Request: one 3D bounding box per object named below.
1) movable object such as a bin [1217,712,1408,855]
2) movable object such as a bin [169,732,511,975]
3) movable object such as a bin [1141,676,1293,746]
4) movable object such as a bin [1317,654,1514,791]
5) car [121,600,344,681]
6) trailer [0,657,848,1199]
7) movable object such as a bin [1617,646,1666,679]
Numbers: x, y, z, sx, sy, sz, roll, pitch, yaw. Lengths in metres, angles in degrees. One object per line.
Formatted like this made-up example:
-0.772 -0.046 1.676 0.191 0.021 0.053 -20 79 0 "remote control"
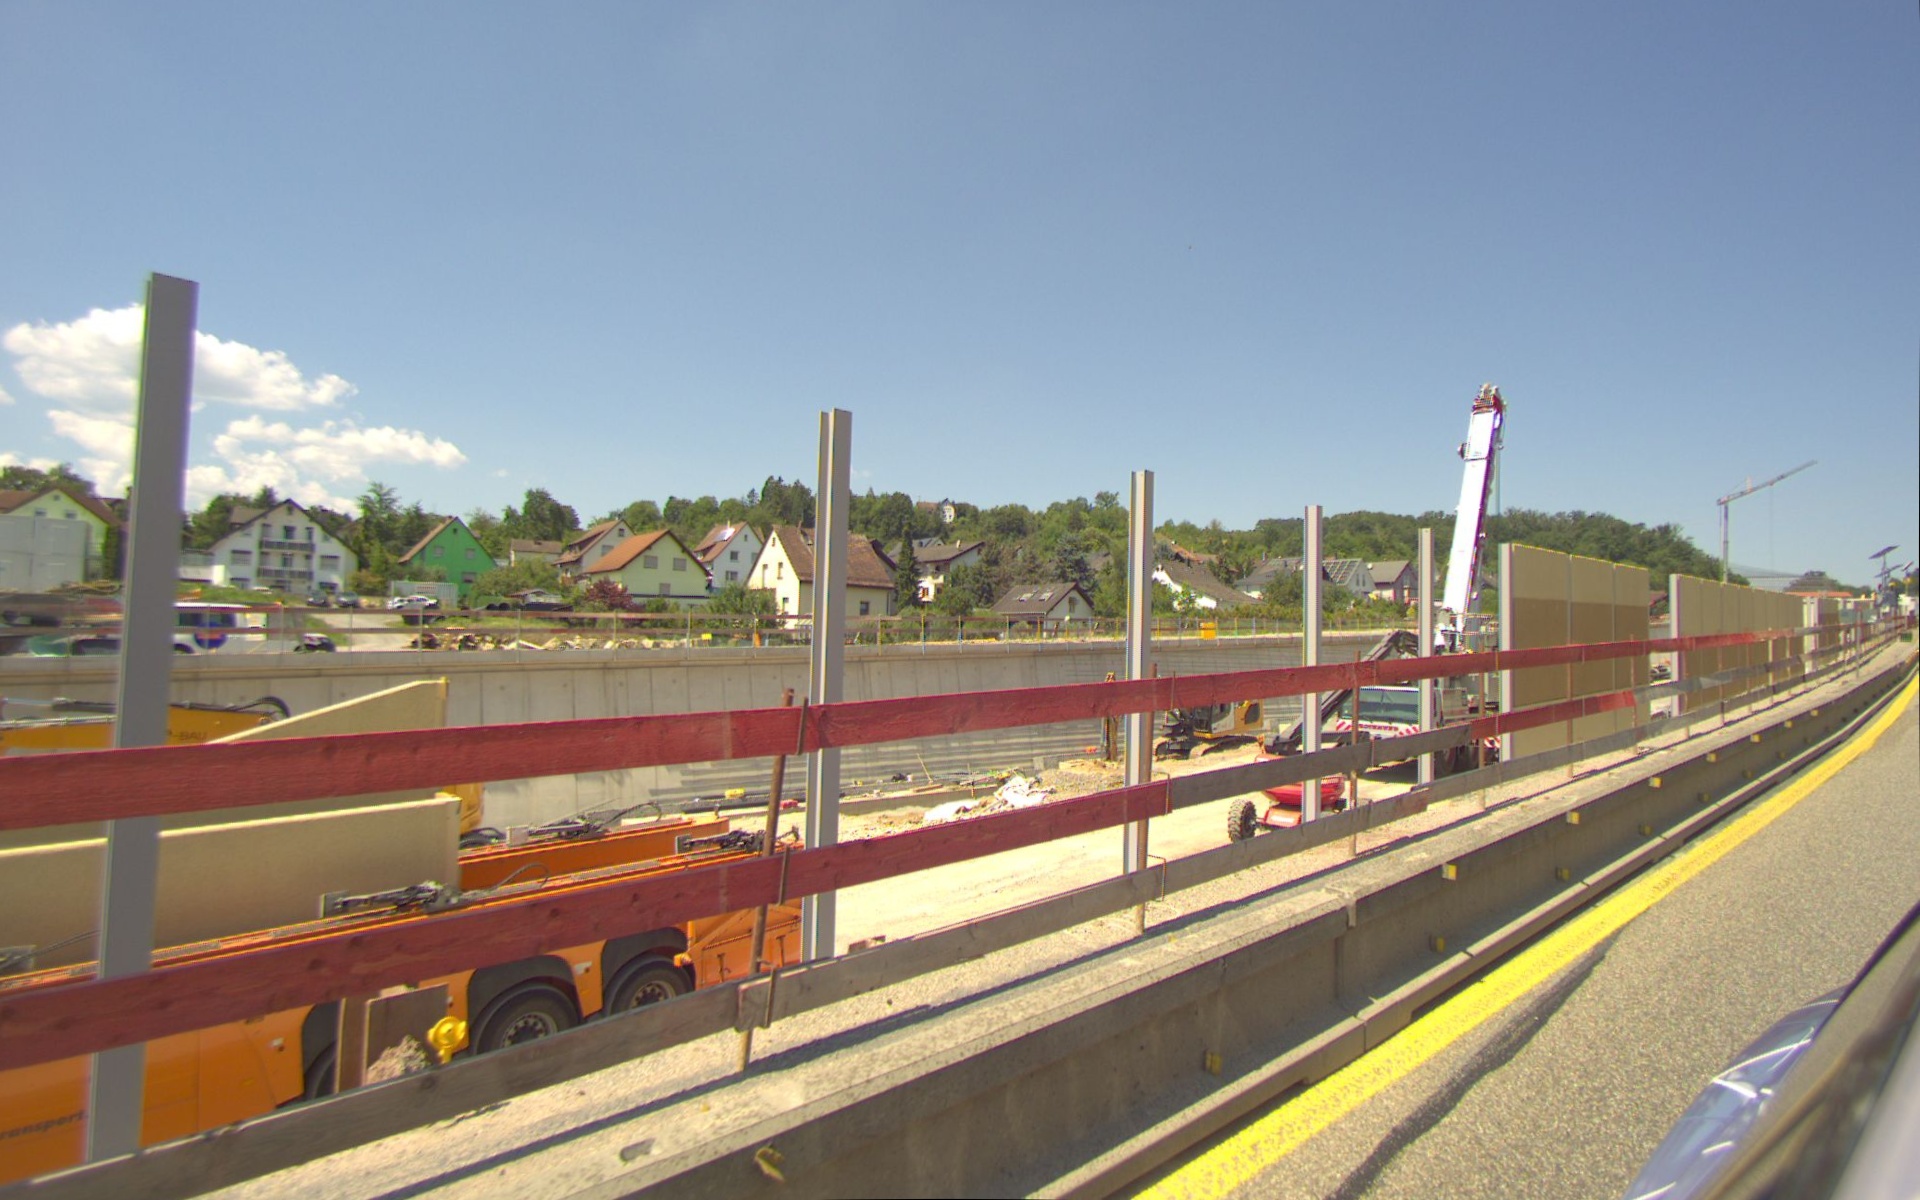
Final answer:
8.134 4.019 23.142 4.740 2.463 2.170 0 -2 -44 "movable object such as a bin"
-10.689 4.118 17.653 4.740 3.063 2.281 0 -2 -43 "movable object such as a bin"
11.890 4.949 46.312 7.765 2.477 3.164 0 -2 -45 "movable object such as a bin"
15.070 3.698 33.046 2.965 3.533 9.007 -3 -2 44 "movable object such as a bin"
-19.956 1.031 27.927 1.806 2.039 4.748 0 -1 44 "car"
-6.992 2.756 9.405 12.830 3.936 2.761 1 -1 -44 "trailer"
57.726 5.240 85.674 2.608 2.522 4.382 -2 -2 45 "movable object such as a bin"
